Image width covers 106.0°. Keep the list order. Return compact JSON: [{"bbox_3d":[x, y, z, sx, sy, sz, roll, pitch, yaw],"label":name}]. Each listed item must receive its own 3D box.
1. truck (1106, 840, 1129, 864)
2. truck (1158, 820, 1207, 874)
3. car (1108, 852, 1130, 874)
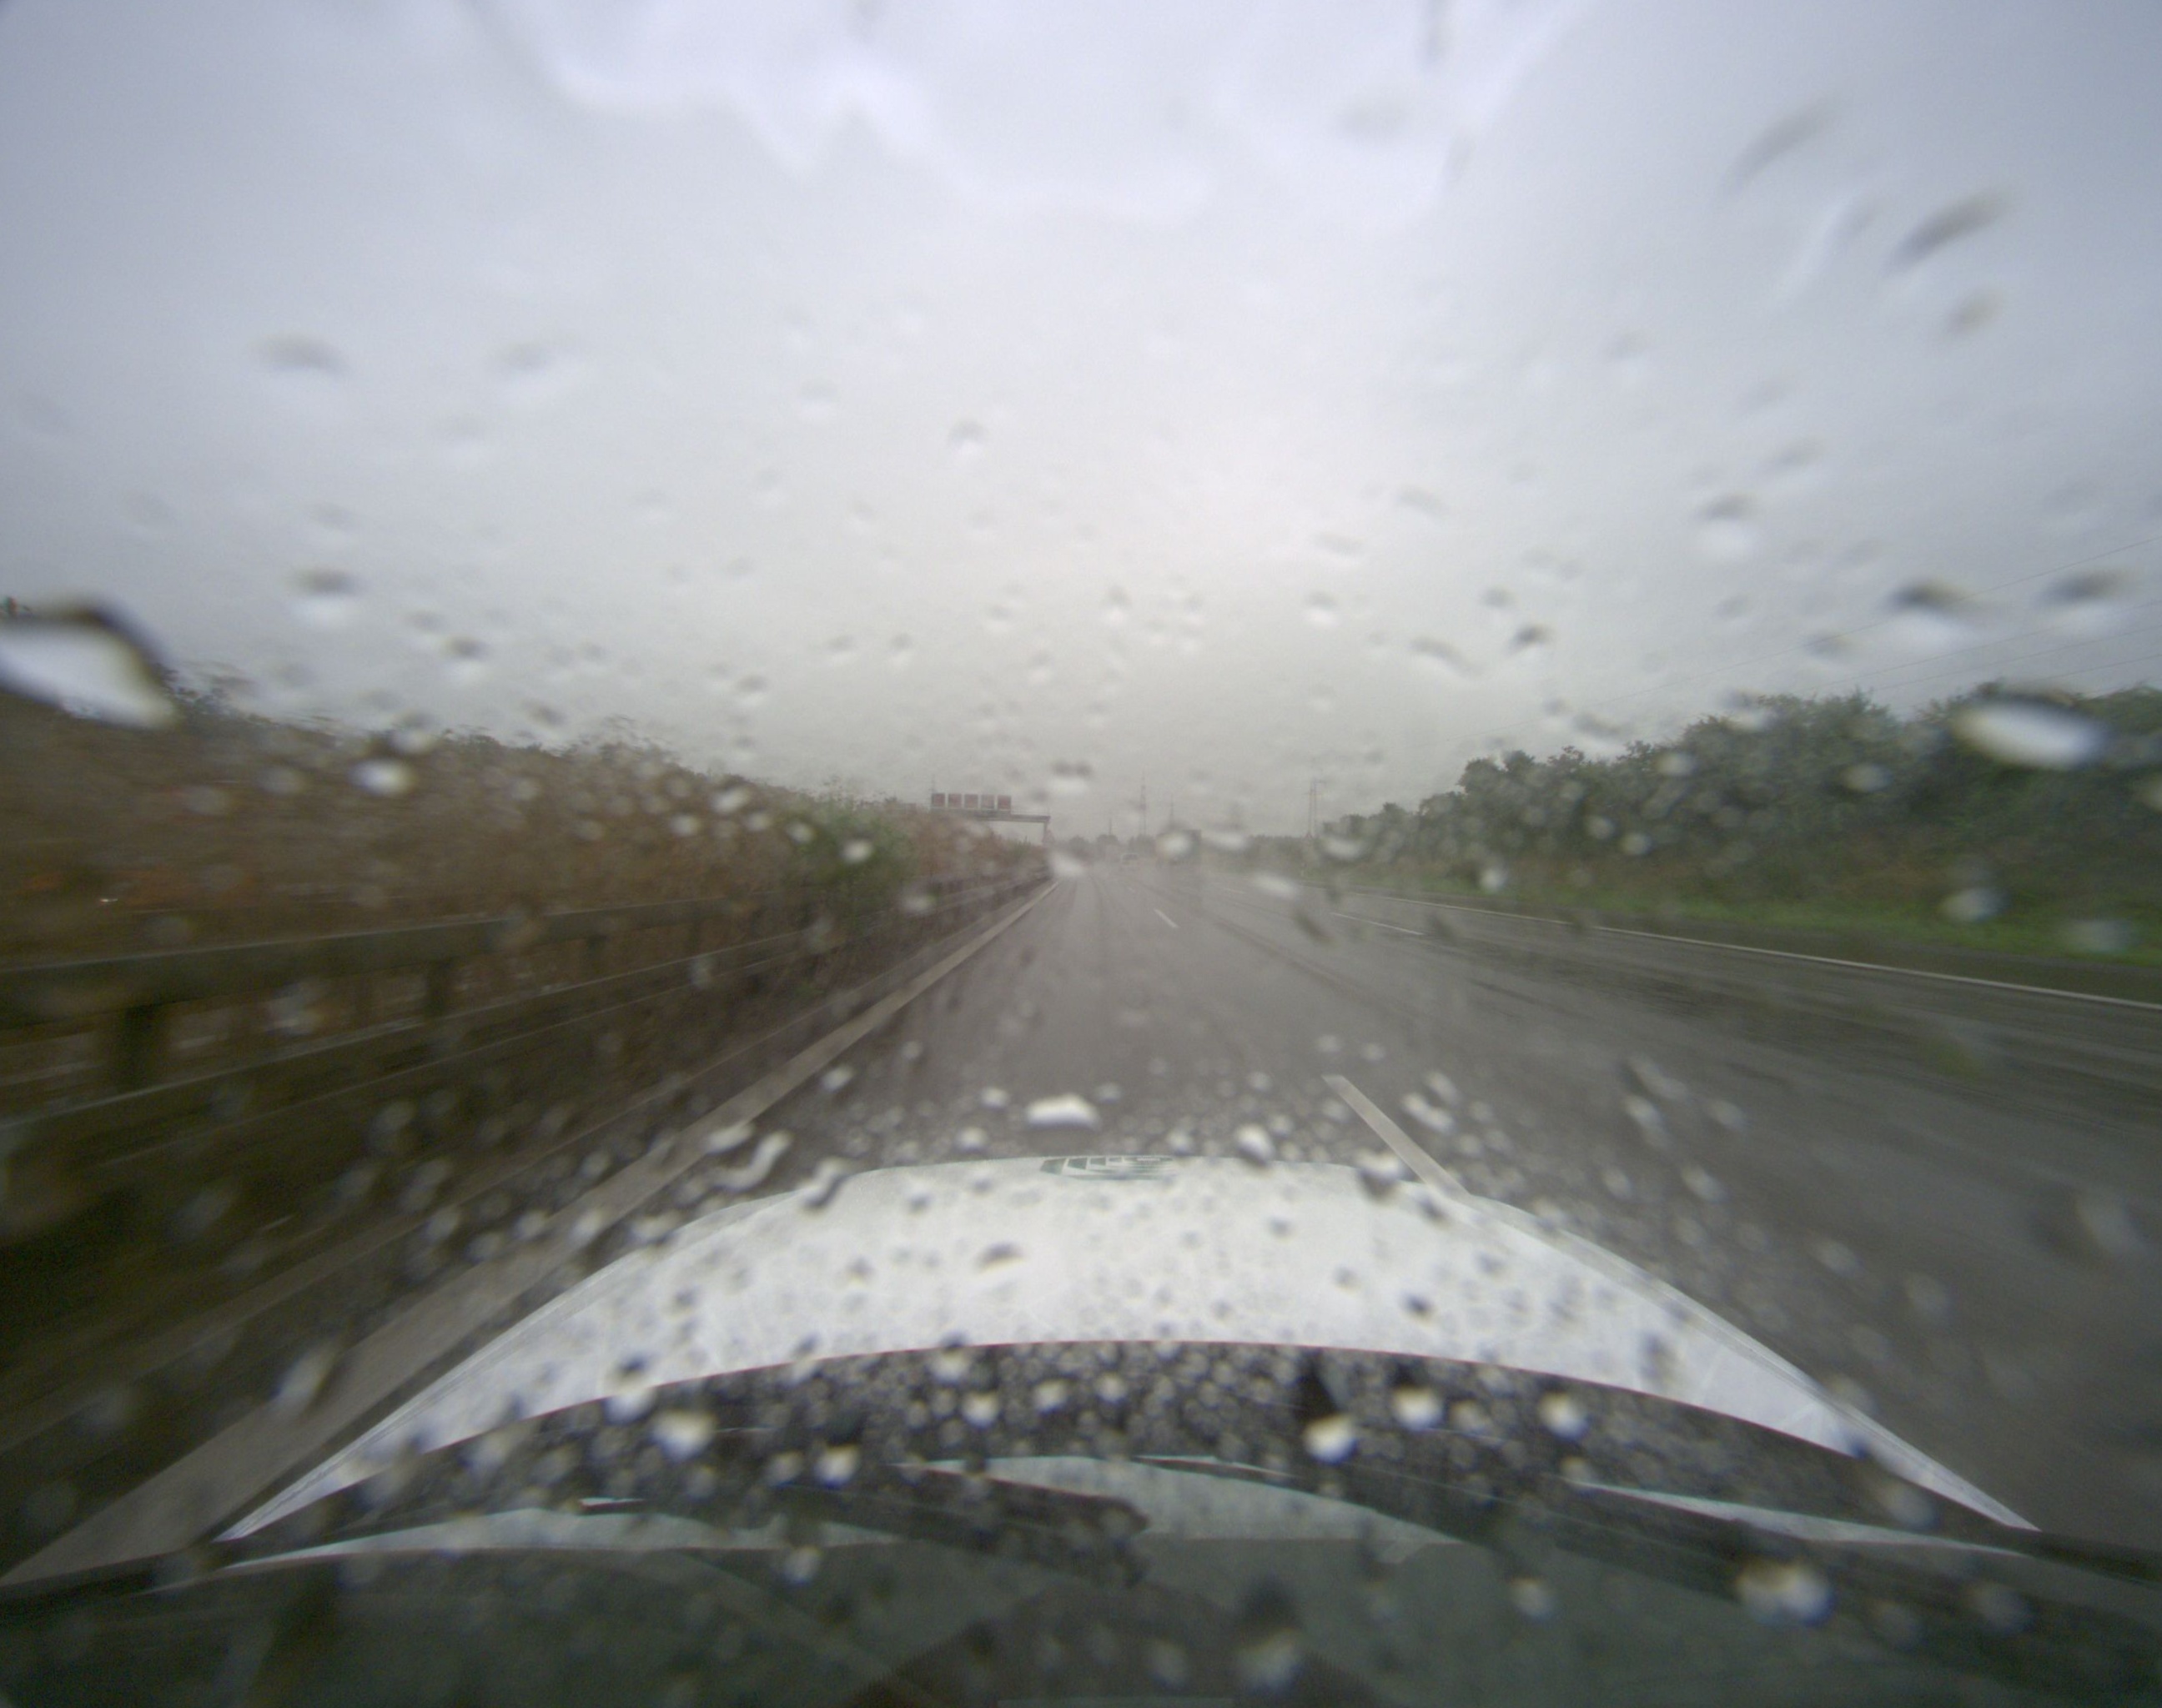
[{"bbox_3d":[6.601,-0.390,148.482,3.225,4.311,8.828,-1,0,-3],"label":"truck"},{"bbox_3d":[9.652,-0.548,79.216,4.168,4.630,16.129,0,0,5],"label":"truck"},{"bbox_3d":[3.683,0.803,77.552,1.985,2.013,4.004,-1,0,4],"label":"car"}]
